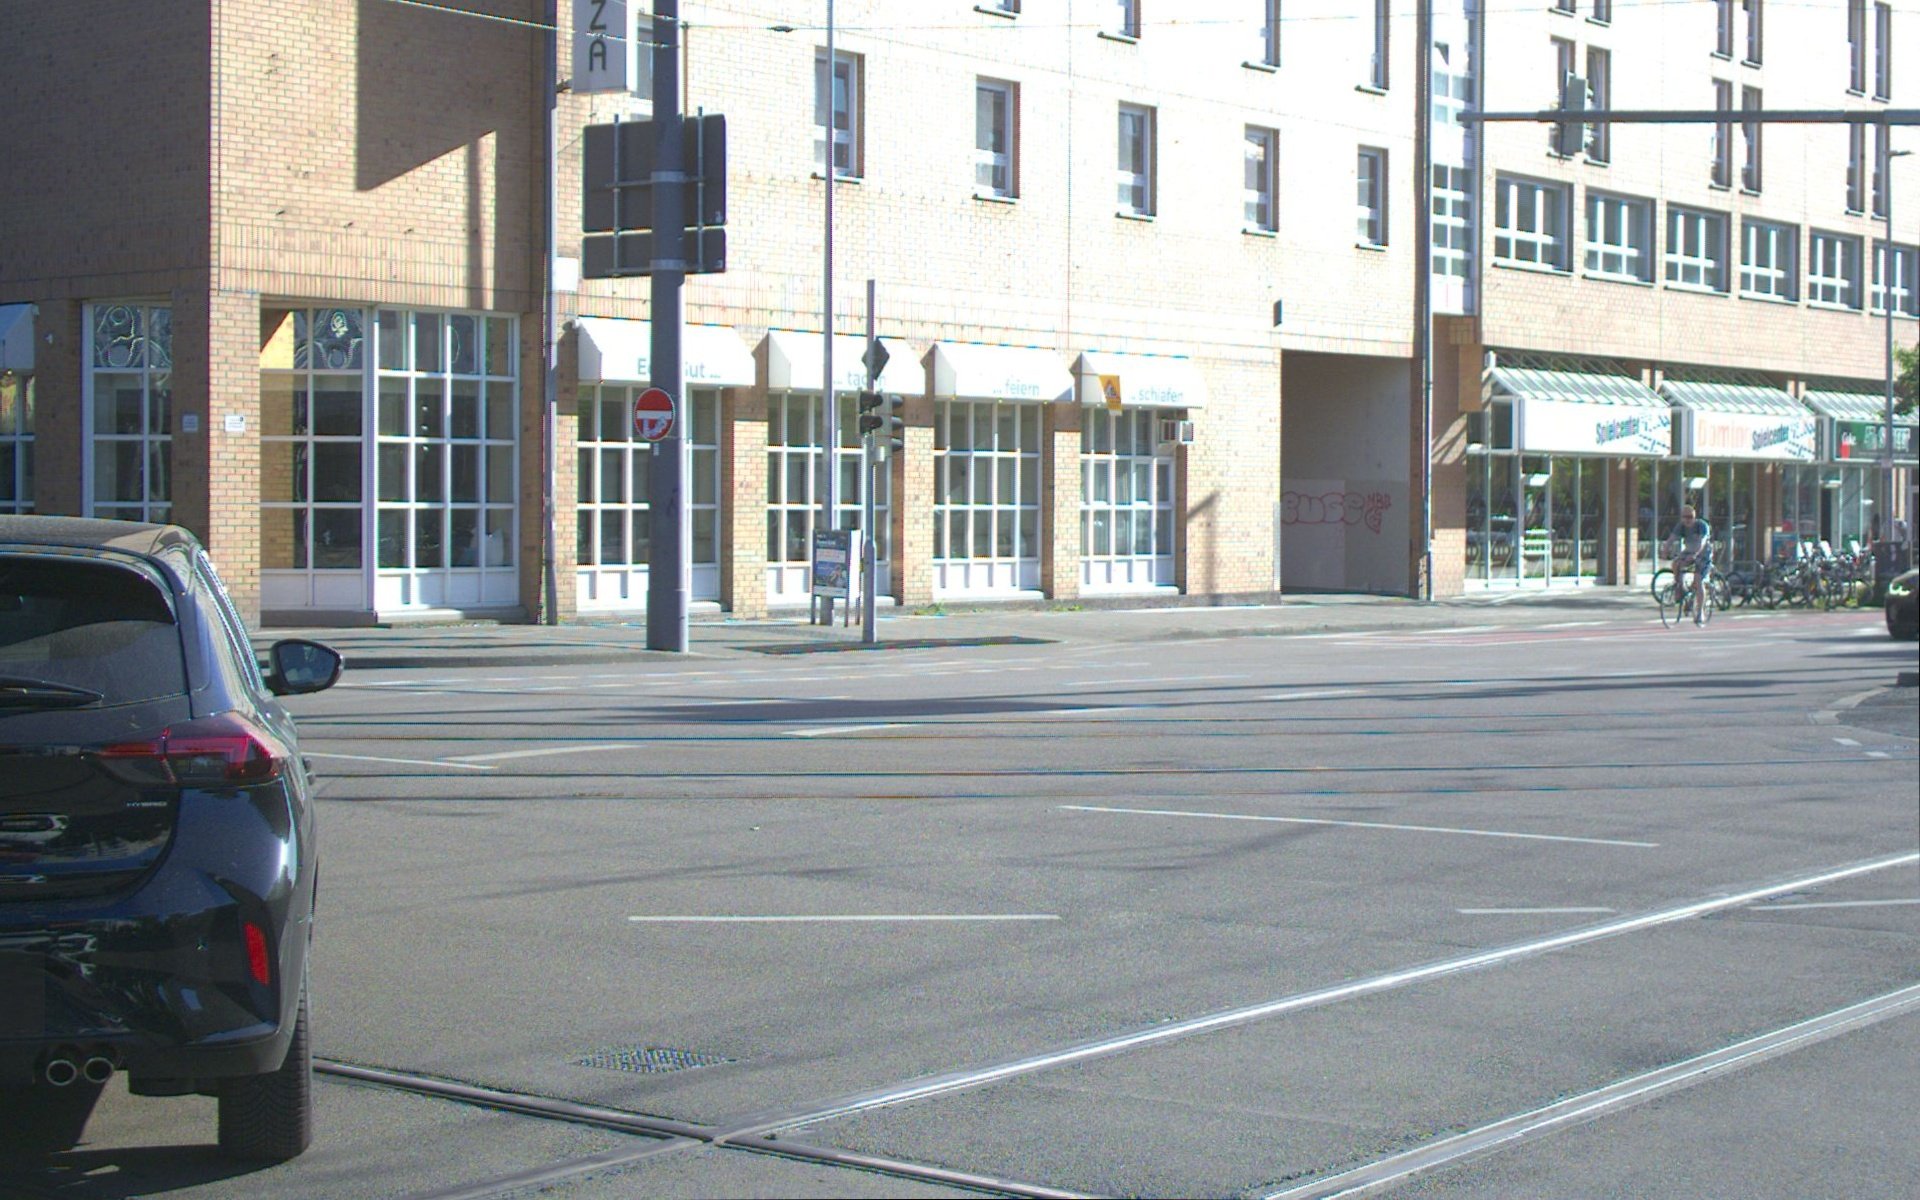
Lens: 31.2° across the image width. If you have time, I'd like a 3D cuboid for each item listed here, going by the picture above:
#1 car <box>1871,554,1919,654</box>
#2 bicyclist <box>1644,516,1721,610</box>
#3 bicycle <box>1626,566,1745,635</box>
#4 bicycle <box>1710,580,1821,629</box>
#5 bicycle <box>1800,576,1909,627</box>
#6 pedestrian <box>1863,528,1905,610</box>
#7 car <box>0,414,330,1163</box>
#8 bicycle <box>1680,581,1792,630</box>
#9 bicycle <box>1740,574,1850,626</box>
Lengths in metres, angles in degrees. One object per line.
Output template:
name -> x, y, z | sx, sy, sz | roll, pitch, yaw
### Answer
car -> 13.513, 0.033, 44.859 | 1.843, 1.264, 4.221 | 0, 0, 34
bicyclist -> 10.732, -0.553, 51.058 | 0.811, 1.372, 0.924 | 1, 1, 35
bicycle -> 10.811, -0.005, 51.174 | 0.811, 0.987, 2.504 | 1, 1, 35
bicycle -> 14.682, 0.080, 62.715 | 0.481, 0.842, 2.039 | -1, 2, -43
bicycle -> 16.804, 0.016, 64.631 | 0.481, 0.917, 2.039 | -1, 2, -43
pedestrian -> 20.082, -0.672, 74.716 | 0.718, 1.758, 0.564 | 1, 1, 39
car -> -2.632, 0.331, 8.578 | 1.671, 1.496, 3.692 | 1, 1, -17
bicycle -> 13.962, 0.095, 61.910 | 0.481, 0.842, 2.039 | -1, 2, -43
bicycle -> 15.516, 0.000, 63.923 | 0.481, 0.917, 2.039 | -1, 2, -43
